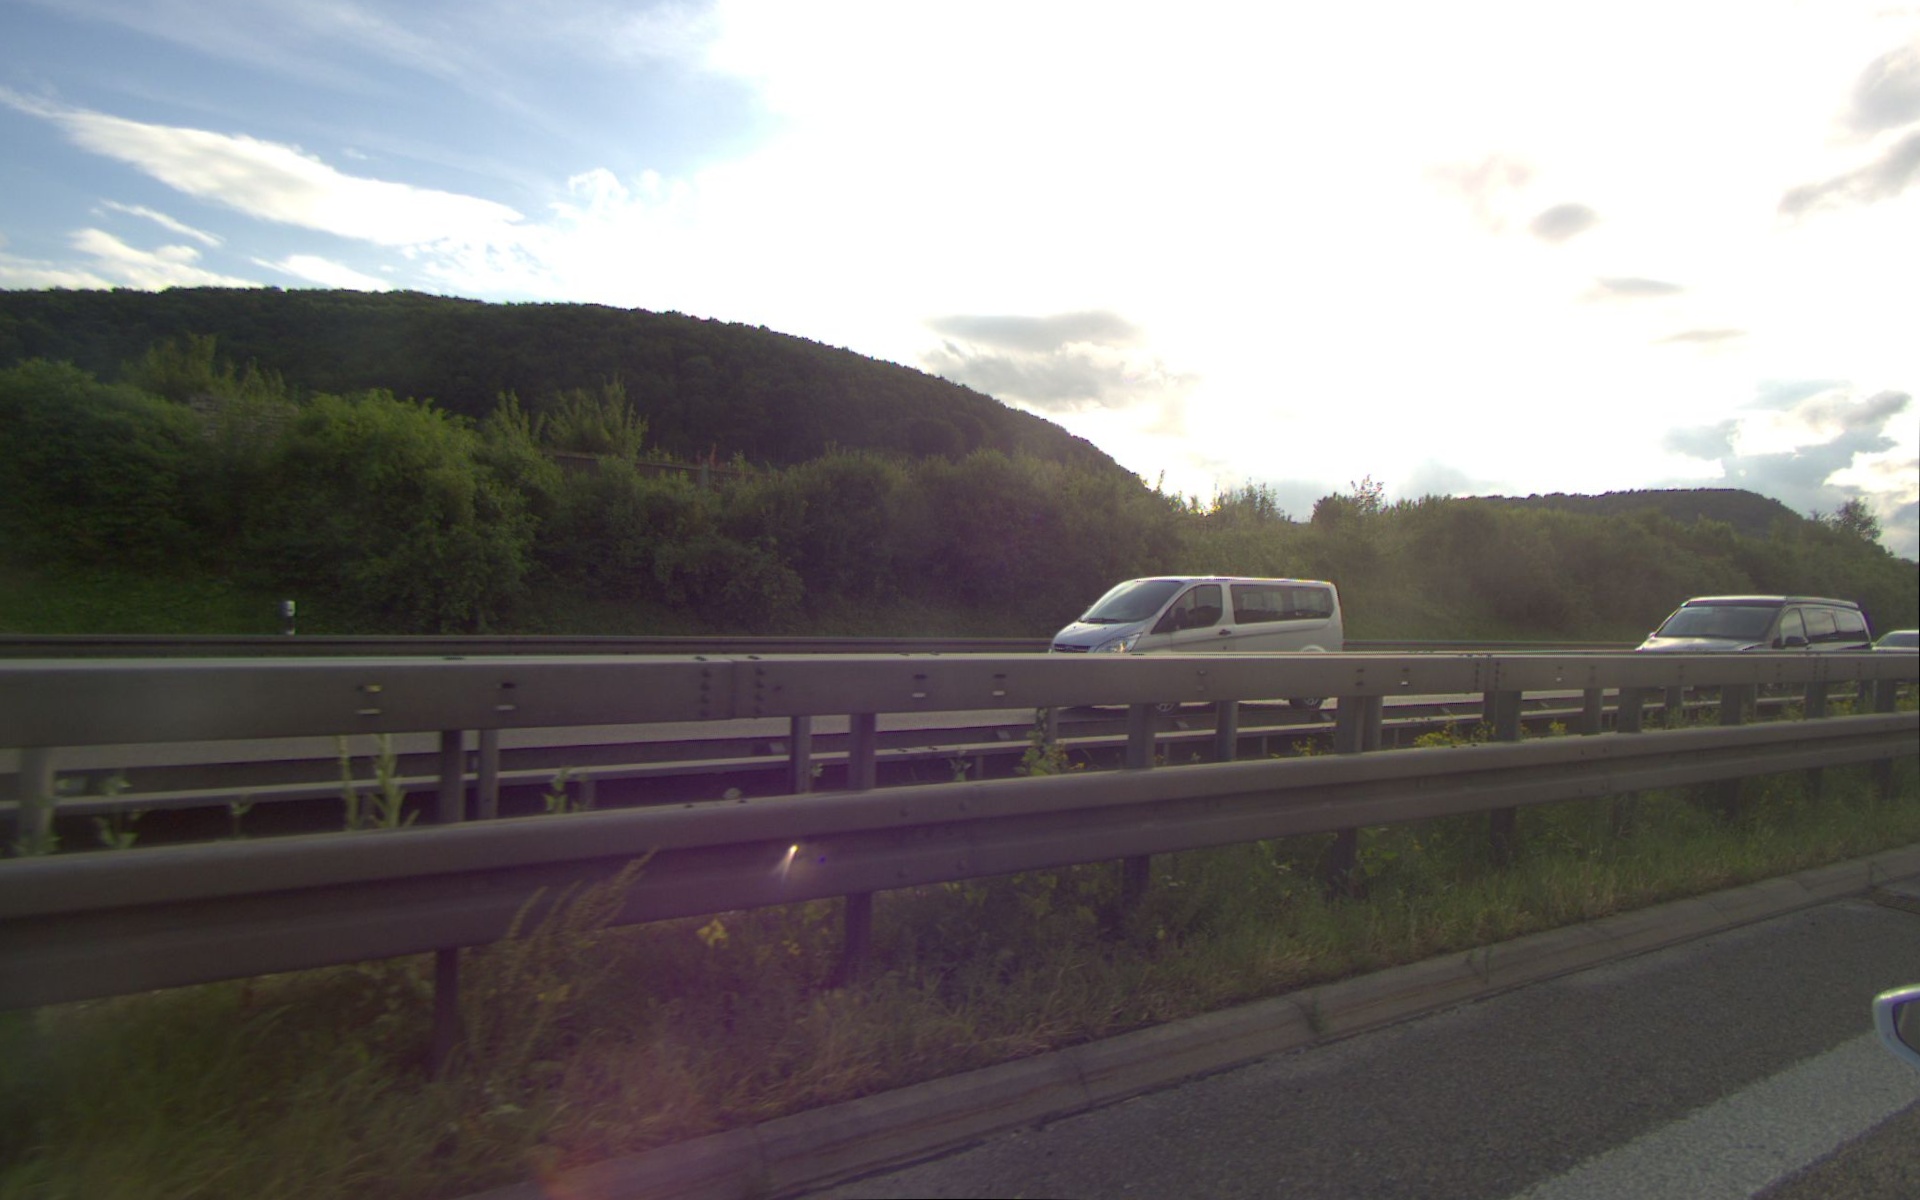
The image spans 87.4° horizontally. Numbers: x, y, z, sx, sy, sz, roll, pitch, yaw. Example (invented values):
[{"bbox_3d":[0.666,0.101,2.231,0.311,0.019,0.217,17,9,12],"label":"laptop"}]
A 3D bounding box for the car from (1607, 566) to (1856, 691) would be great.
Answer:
[{"bbox_3d":[13.360,0.490,17.350,4.294,1.917,1.920,1,-1,-30],"label":"car"}]

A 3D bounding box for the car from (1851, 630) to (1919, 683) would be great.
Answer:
[{"bbox_3d":[28.507,1.651,29.967,4.294,1.455,1.635,1,-1,-30],"label":"car"}]

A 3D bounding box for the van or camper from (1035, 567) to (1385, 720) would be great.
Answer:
[{"bbox_3d":[3.853,0.619,15.097,5.337,1.965,1.839,1,-1,-30],"label":"van or camper"}]
